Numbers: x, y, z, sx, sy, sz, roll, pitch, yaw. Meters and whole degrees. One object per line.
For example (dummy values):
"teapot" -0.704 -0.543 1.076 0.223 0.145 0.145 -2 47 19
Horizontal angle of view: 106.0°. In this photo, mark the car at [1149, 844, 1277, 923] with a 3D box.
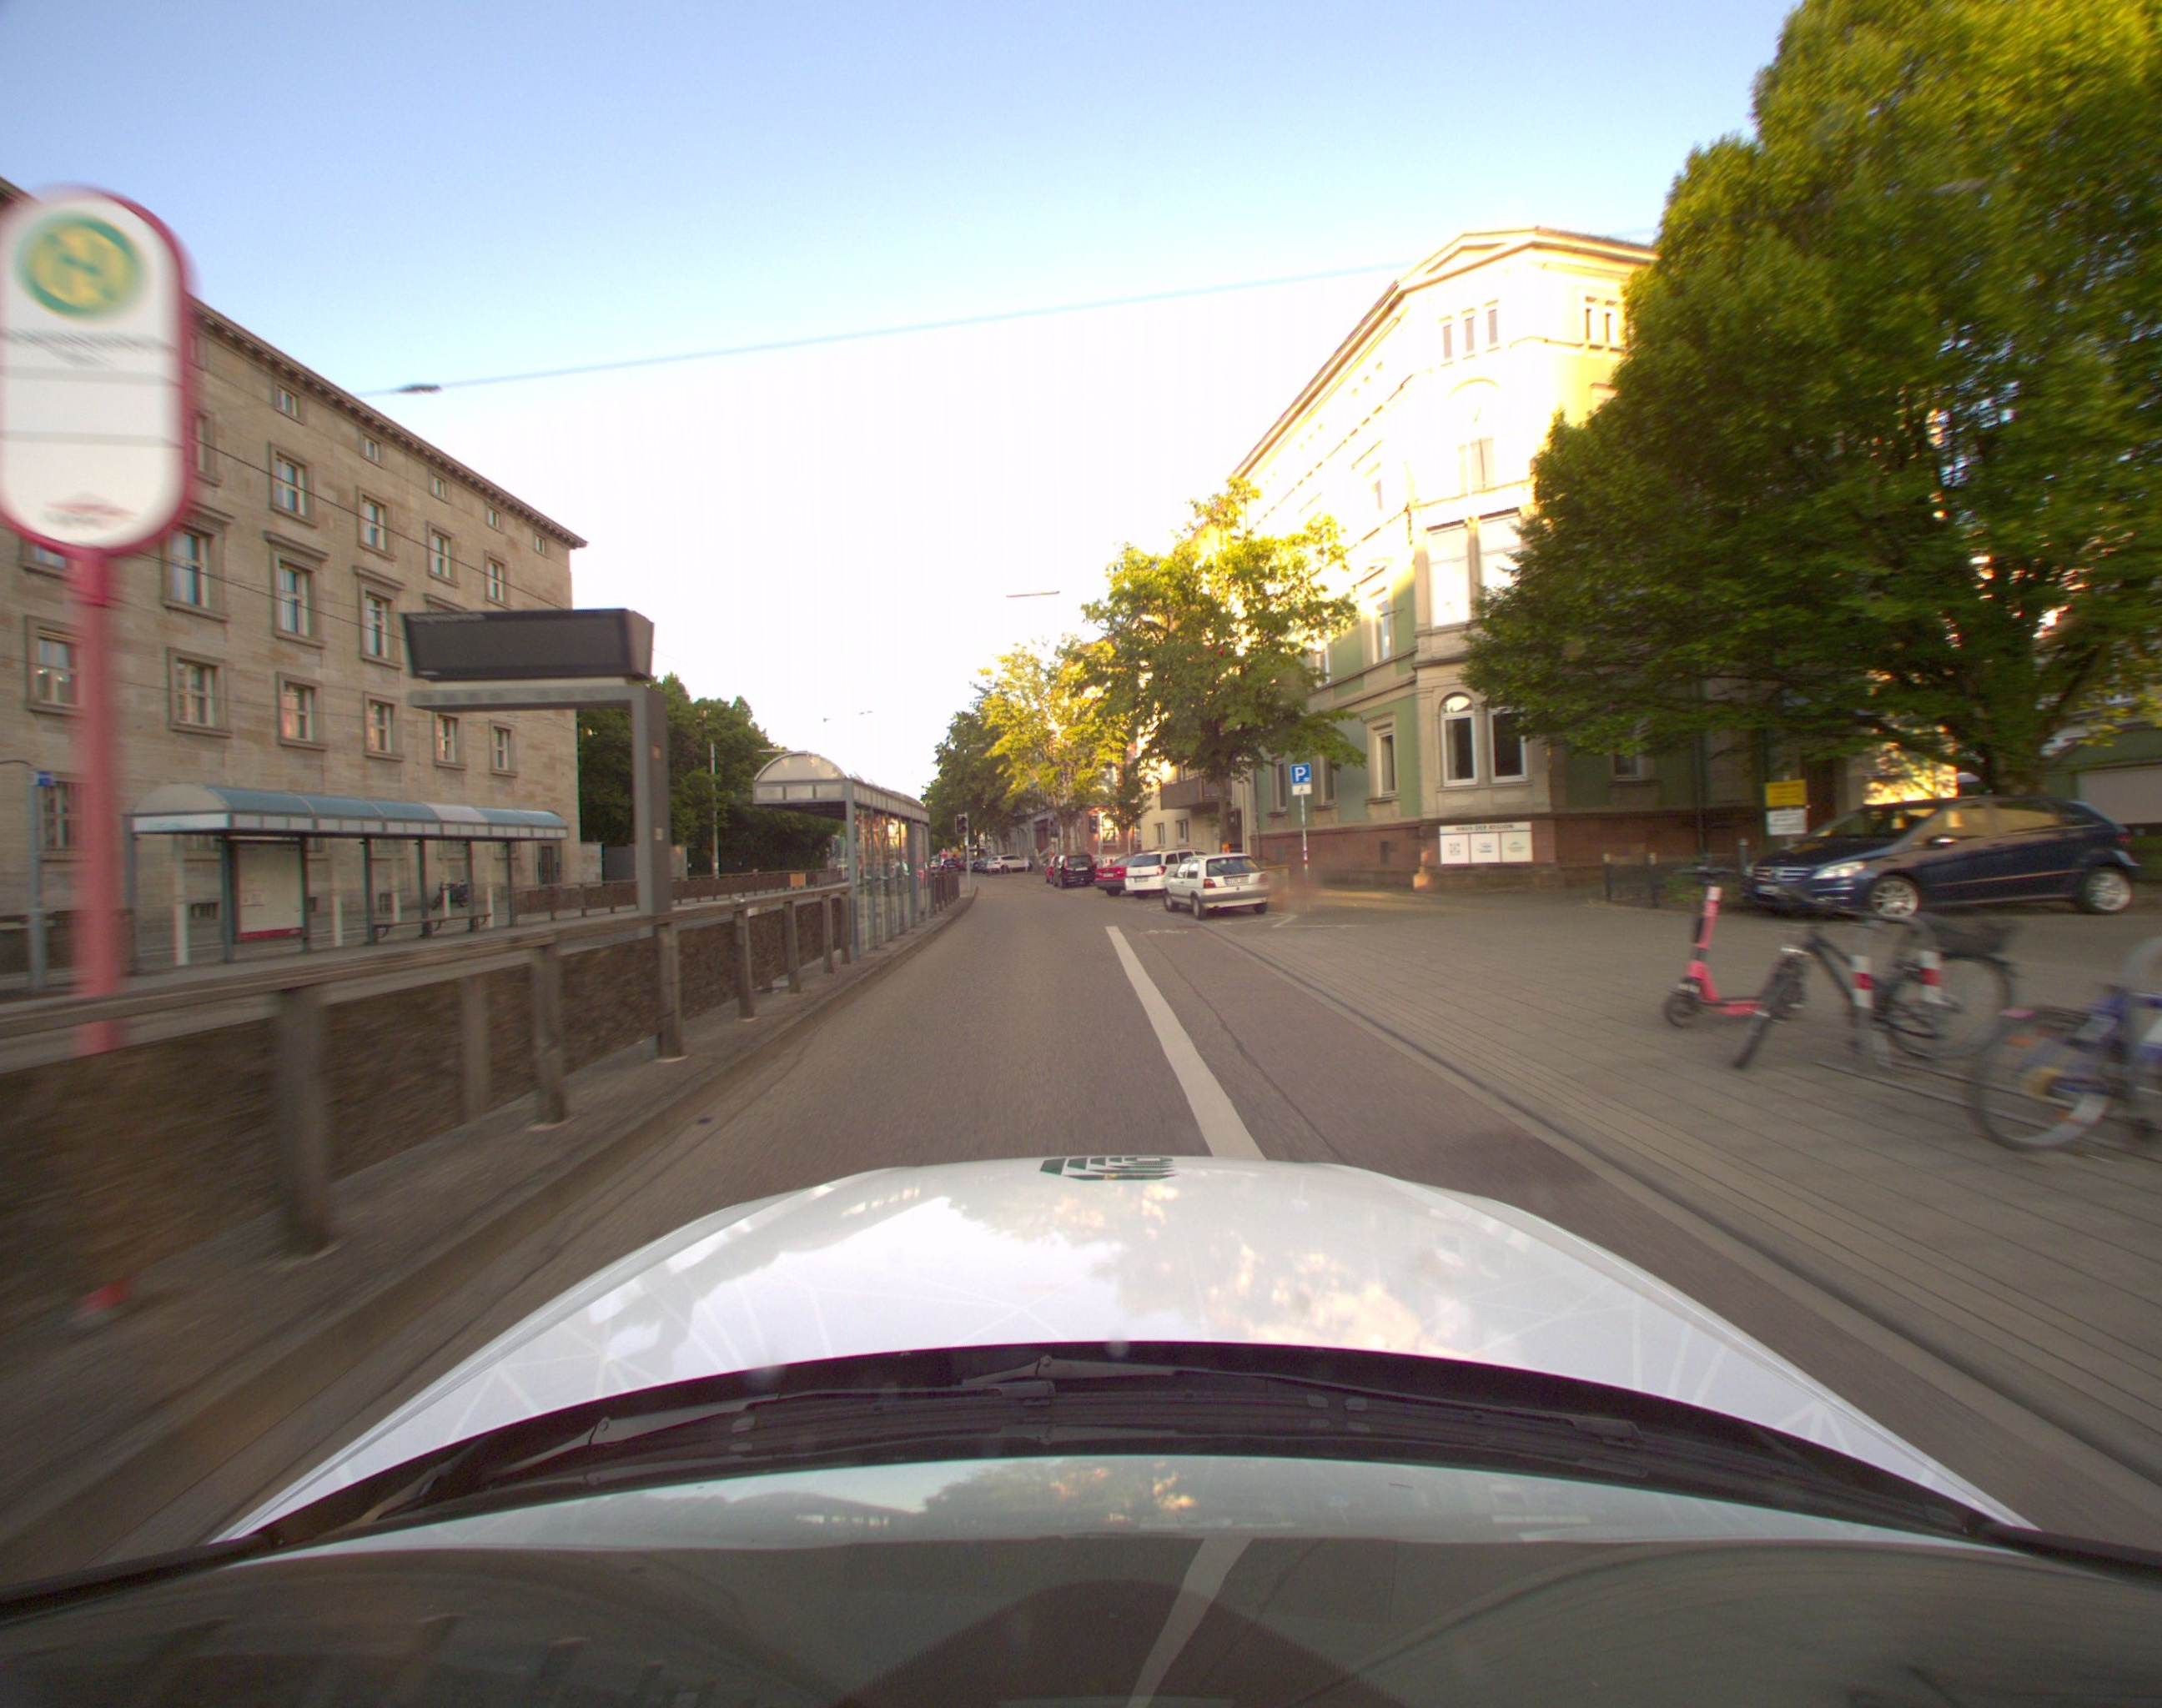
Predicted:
"car" 3.036 0.655 19.600 1.680 1.552 3.986 -5 0 -10

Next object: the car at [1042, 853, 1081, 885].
"car" -1.081 0.780 43.773 1.564 1.536 3.683 -4 0 -8

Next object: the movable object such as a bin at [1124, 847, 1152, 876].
"movable object such as a bin" 3.088 0.407 44.258 1.074 1.502 1.312 -2 0 -15

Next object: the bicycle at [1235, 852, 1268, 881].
"bicycle" 6.550 0.478 31.367 0.651 1.074 1.549 -2 0 -13

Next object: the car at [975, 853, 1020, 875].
"car" -7.983 0.967 77.758 1.877 1.668 3.981 -5 0 40

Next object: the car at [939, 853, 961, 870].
"car" -12.773 0.739 79.406 1.884 1.620 3.982 0 -1 -13

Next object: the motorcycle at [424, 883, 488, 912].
"motorcycle" -27.298 1.894 35.655 0.696 1.074 2.654 -3 0 0

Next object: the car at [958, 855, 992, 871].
"car" -13.786 1.123 105.970 3.976 1.603 1.819 -7 2 -40

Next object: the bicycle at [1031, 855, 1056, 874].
"bicycle" -2.736 0.736 59.213 0.594 1.266 1.930 -3 0 42

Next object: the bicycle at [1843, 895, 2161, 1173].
"bicycle" 4.676 0.773 3.772 1.545 1.074 0.744 -2 0 2

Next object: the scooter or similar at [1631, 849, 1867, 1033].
"scooter or similar" 4.919 0.615 6.052 1.196 1.225 0.591 -4 0 0

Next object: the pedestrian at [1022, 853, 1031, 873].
"pedestrian" -4.504 0.715 66.839 0.587 1.609 0.622 -2 0 -13

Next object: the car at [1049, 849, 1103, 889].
"car" -0.302 0.672 37.845 1.744 1.632 4.074 -4 0 -10

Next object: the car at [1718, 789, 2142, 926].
"car" 11.461 0.029 11.214 3.971 1.574 1.803 -2 1 0

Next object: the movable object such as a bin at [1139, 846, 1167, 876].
"movable object such as a bin" 3.788 0.355 42.938 1.142 1.502 1.264 -2 0 -13

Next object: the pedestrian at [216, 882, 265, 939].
"pedestrian" -23.006 1.530 22.299 0.471 1.470 0.776 -2 0 0

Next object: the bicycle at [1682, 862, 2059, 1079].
"bicycle" 4.717 0.664 4.959 1.520 1.162 0.744 -2 0 2

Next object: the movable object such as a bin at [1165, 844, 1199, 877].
"movable object such as a bin" 4.796 0.302 38.730 1.114 1.502 1.475 -2 0 -13

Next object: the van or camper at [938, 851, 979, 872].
"van or camper" -17.700 1.048 117.529 2.060 2.530 5.585 -5 1 42

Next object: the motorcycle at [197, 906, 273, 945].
"motorcycle" -23.239 1.954 22.395 0.475 0.928 1.511 -2 0 1

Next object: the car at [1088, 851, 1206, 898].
"car" 2.382 0.687 28.705 4.232 1.454 1.626 -2 0 -41

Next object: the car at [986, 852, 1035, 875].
"car" -6.058 0.838 70.360 3.978 1.626 1.653 -5 2 -44

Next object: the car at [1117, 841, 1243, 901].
"car" 3.274 0.491 26.334 4.234 1.725 1.701 -2 0 -43
